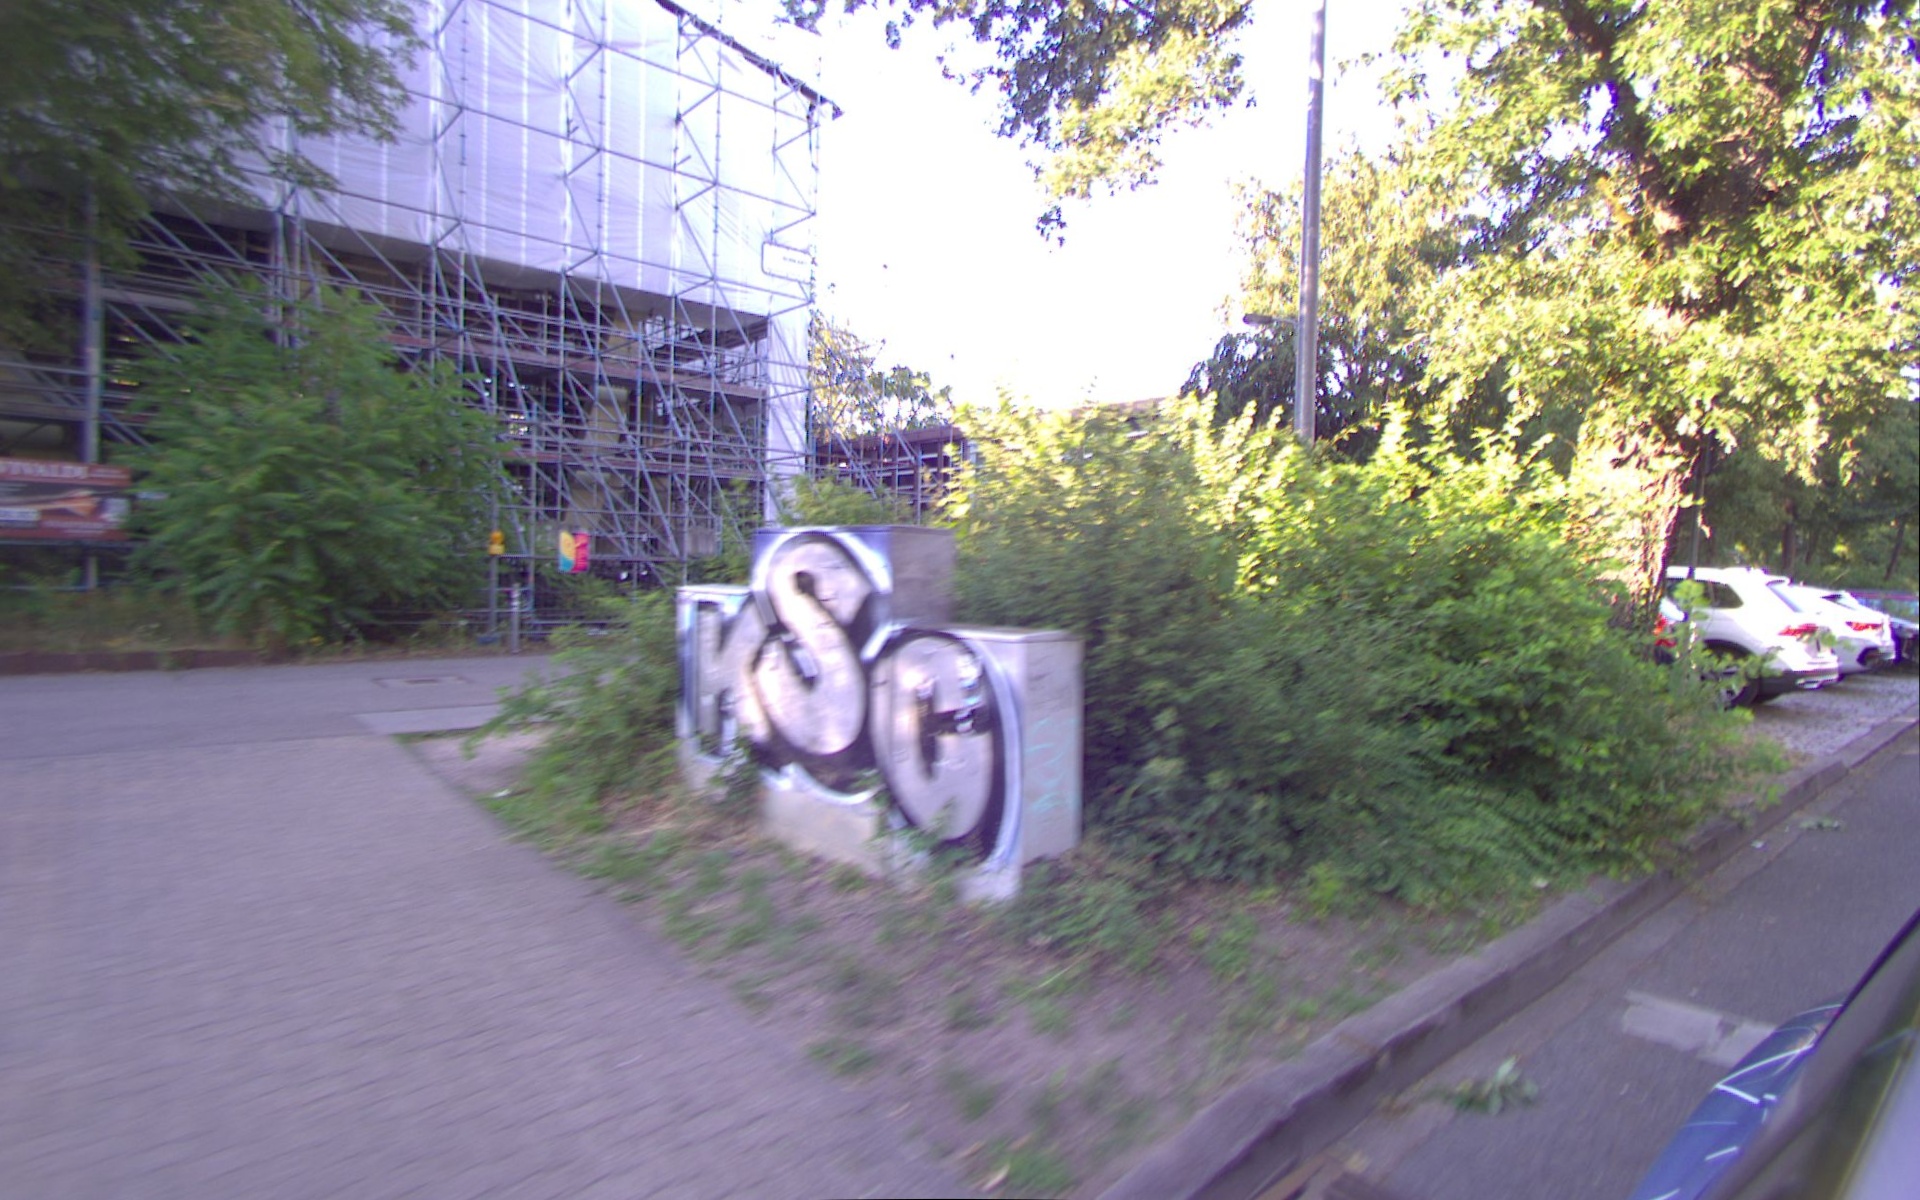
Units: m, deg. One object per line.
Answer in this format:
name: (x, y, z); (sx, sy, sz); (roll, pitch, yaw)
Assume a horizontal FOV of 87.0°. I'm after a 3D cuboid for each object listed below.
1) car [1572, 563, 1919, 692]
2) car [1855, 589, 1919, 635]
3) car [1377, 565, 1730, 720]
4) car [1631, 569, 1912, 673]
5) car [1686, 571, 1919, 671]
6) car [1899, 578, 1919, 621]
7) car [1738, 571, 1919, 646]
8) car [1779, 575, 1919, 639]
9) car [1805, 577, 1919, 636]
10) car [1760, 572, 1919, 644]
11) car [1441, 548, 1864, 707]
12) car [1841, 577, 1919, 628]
car: (12.364, 0.322, 16.094); (1.692, 1.688, 4.132); (0, 3, -40)
car: (35.388, 0.514, 36.980); (1.788, 1.516, 3.736); (0, 6, -40)
car: (6.786, 0.381, 11.754); (1.657, 1.511, 3.195); (0, 2, -43)
car: (14.229, 0.282, 17.873); (1.787, 1.585, 3.595); (0, 3, -41)
car: (16.178, 0.332, 19.078); (1.668, 1.614, 3.750); (0, 3, -42)
car: (37.914, 0.150, 37.992); (1.705, 1.571, 3.674); (1, 5, -42)
car: (22.125, 0.229, 24.958); (1.712, 1.493, 4.348); (2, 4, -42)
car: (25.545, 0.213, 28.148); (1.799, 1.471, 3.936); (0, 5, -39)
car: (27.765, 0.225, 29.809); (1.800, 1.492, 4.129); (0, 5, -42)
car: (23.783, 0.188, 26.880); (1.713, 1.574, 3.717); (0, 5, -44)
car: (8.843, 0.237, 13.273); (1.832, 1.731, 4.184); (1, 1, -36)
car: (31.779, 0.163, 33.380); (1.725, 1.492, 3.818); (1, 5, -40)
